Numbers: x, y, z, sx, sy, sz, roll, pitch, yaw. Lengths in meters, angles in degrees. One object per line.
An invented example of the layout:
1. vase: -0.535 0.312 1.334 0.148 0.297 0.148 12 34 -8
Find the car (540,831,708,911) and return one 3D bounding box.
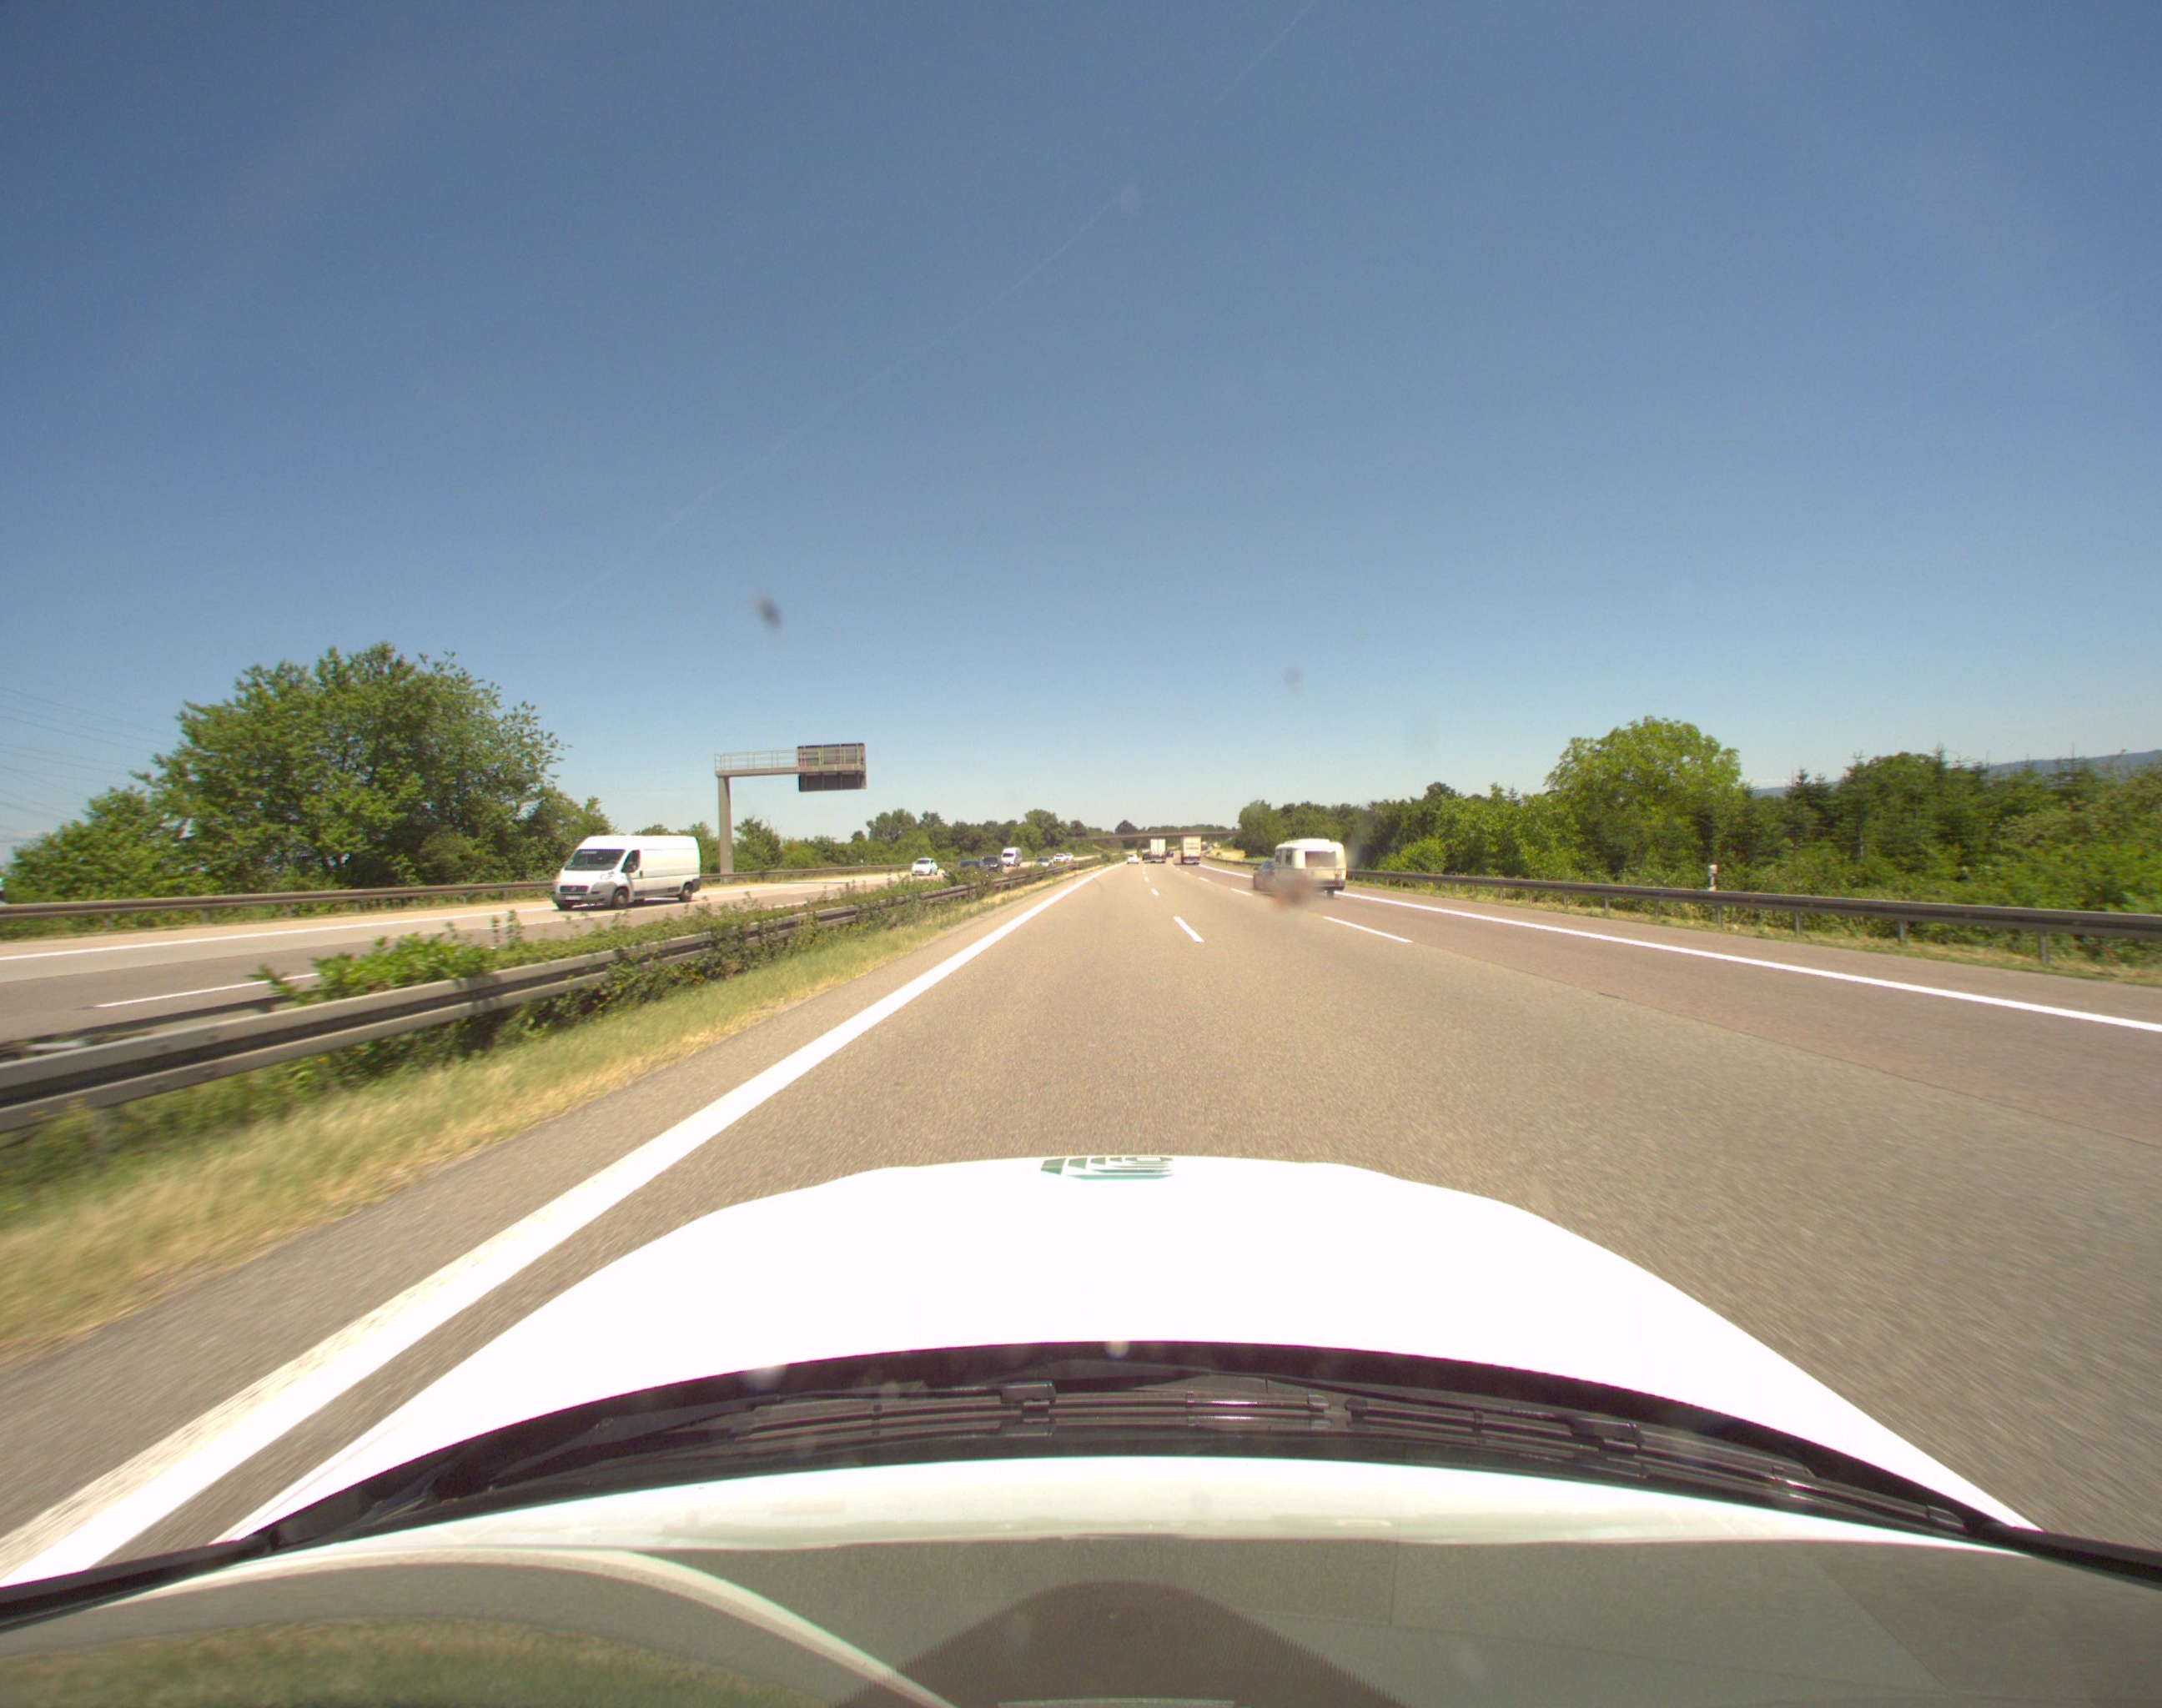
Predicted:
1. car: -15.809 0.551 28.768 2.122 2.477 6.337 -1 0 2

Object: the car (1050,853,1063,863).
1. car: -4.220 0.650 139.353 1.780 1.680 4.906 -1 0 4

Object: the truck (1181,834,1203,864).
1. truck: 16.890 -0.827 123.628 3.163 4.304 16.055 0 1 8

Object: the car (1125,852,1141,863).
1. car: 8.076 0.516 125.370 1.816 1.547 4.333 0 0 12

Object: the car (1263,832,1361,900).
1. car: 8.749 0.365 31.416 2.432 2.321 5.326 -2 1 3

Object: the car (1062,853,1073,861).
1. car: -2.933 0.651 176.868 1.737 1.540 4.838 1 1 8

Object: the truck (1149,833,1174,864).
1. truck: 13.893 -1.025 139.207 3.646 5.018 16.053 0 1 8

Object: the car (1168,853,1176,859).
1. car: 23.544 0.598 210.713 1.816 1.547 4.333 0 0 12

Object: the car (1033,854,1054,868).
1. car: -4.104 0.748 90.568 1.738 1.466 4.257 -1 0 6

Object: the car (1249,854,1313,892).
1. car: 8.996 0.795 37.123 1.879 1.515 5.385 0 1 3

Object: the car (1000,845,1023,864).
1. car: -9.811 0.058 115.595 1.984 2.686 7.192 -1 0 5

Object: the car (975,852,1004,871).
1. car: -8.644 0.715 77.605 1.985 1.698 4.610 -1 0 3

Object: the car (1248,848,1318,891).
1. car: 9.049 0.647 36.973 2.037 1.658 5.514 -1 1 2

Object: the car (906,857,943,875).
1. car: -13.543 1.040 70.558 1.983 1.458 4.095 -1 0 6
